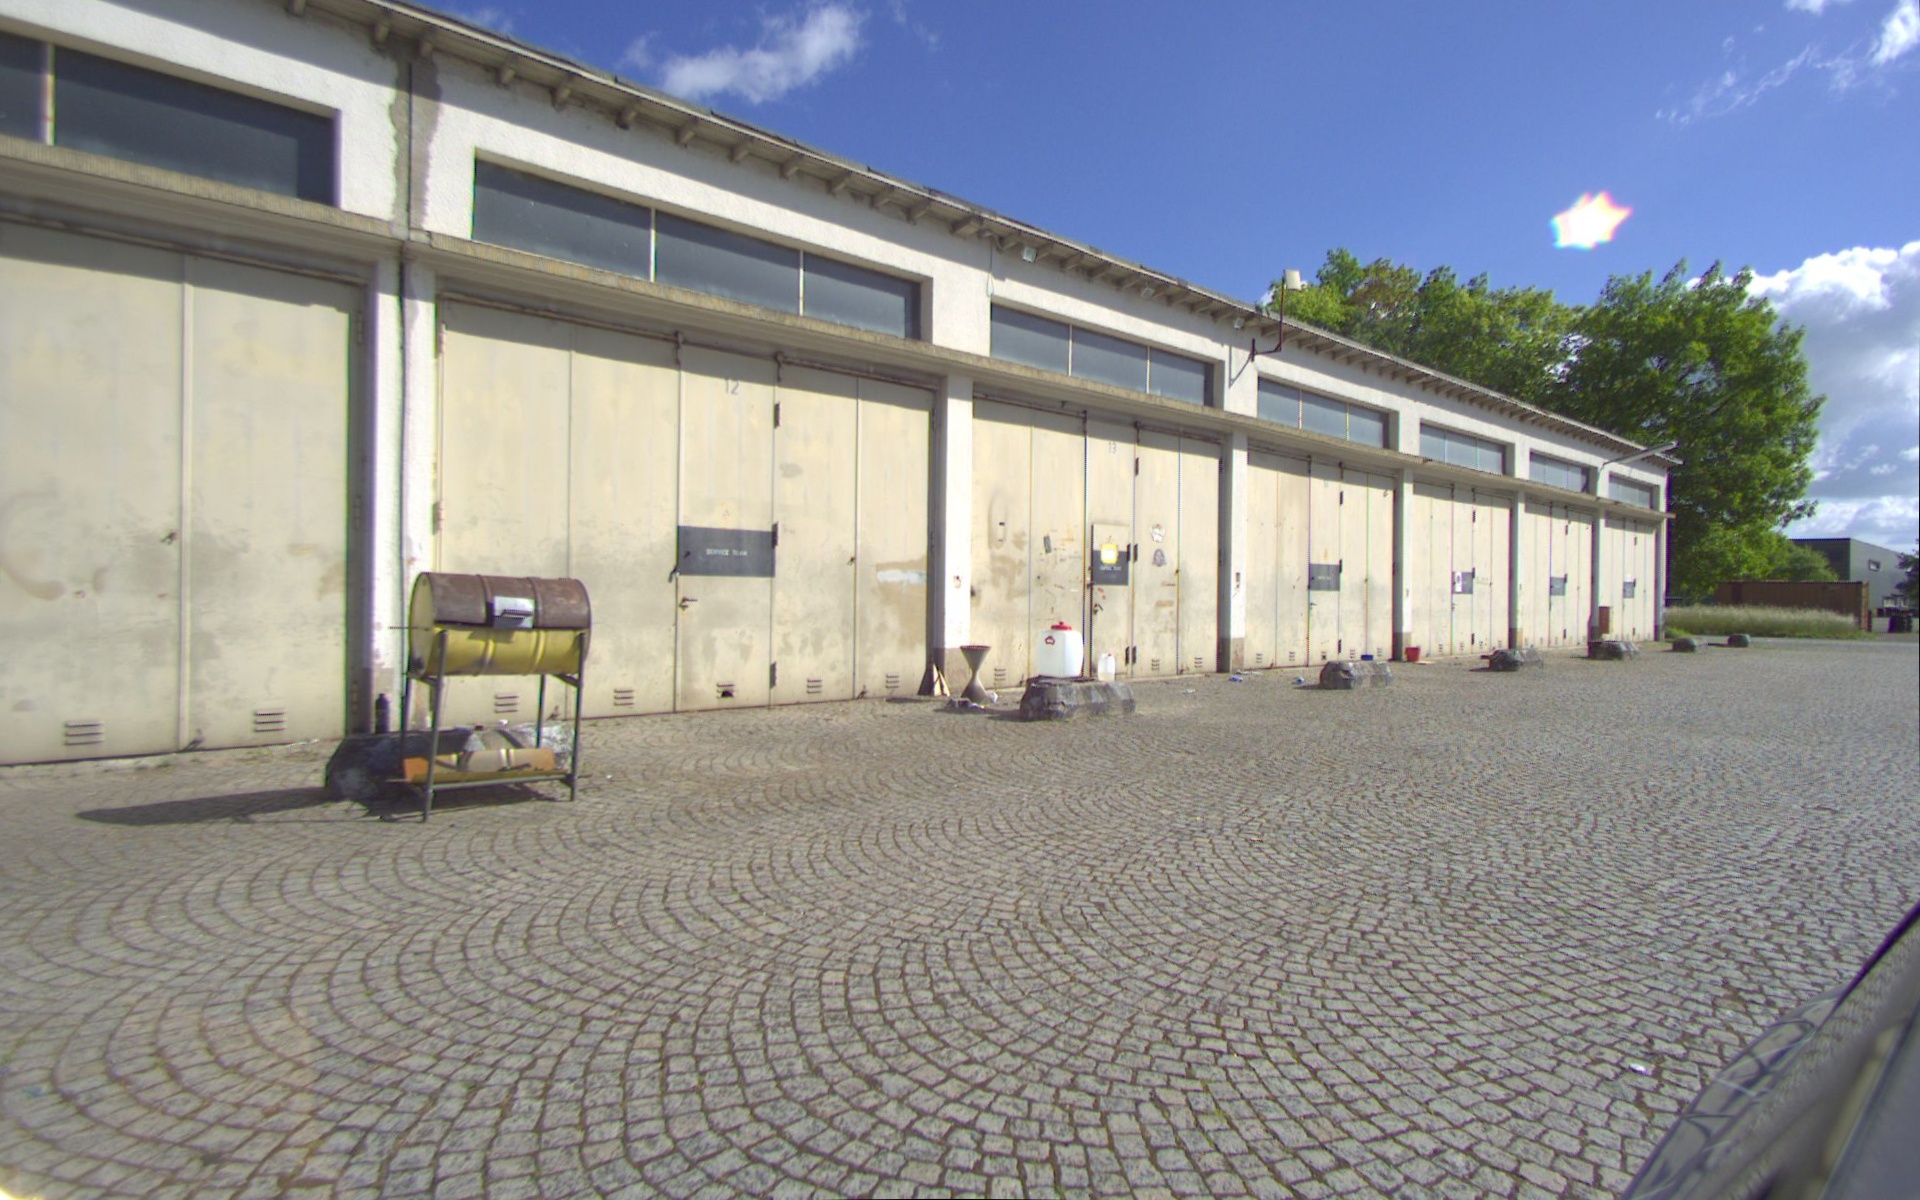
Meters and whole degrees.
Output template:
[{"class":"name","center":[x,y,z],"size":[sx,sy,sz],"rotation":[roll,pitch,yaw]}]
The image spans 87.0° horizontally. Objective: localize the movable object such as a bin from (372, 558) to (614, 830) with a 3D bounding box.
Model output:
[{"class":"movable object such as a bin","center":[-2.748,0.483,5.967],"size":[1.082,1.419,0.876],"rotation":[0,0,-42]}]
